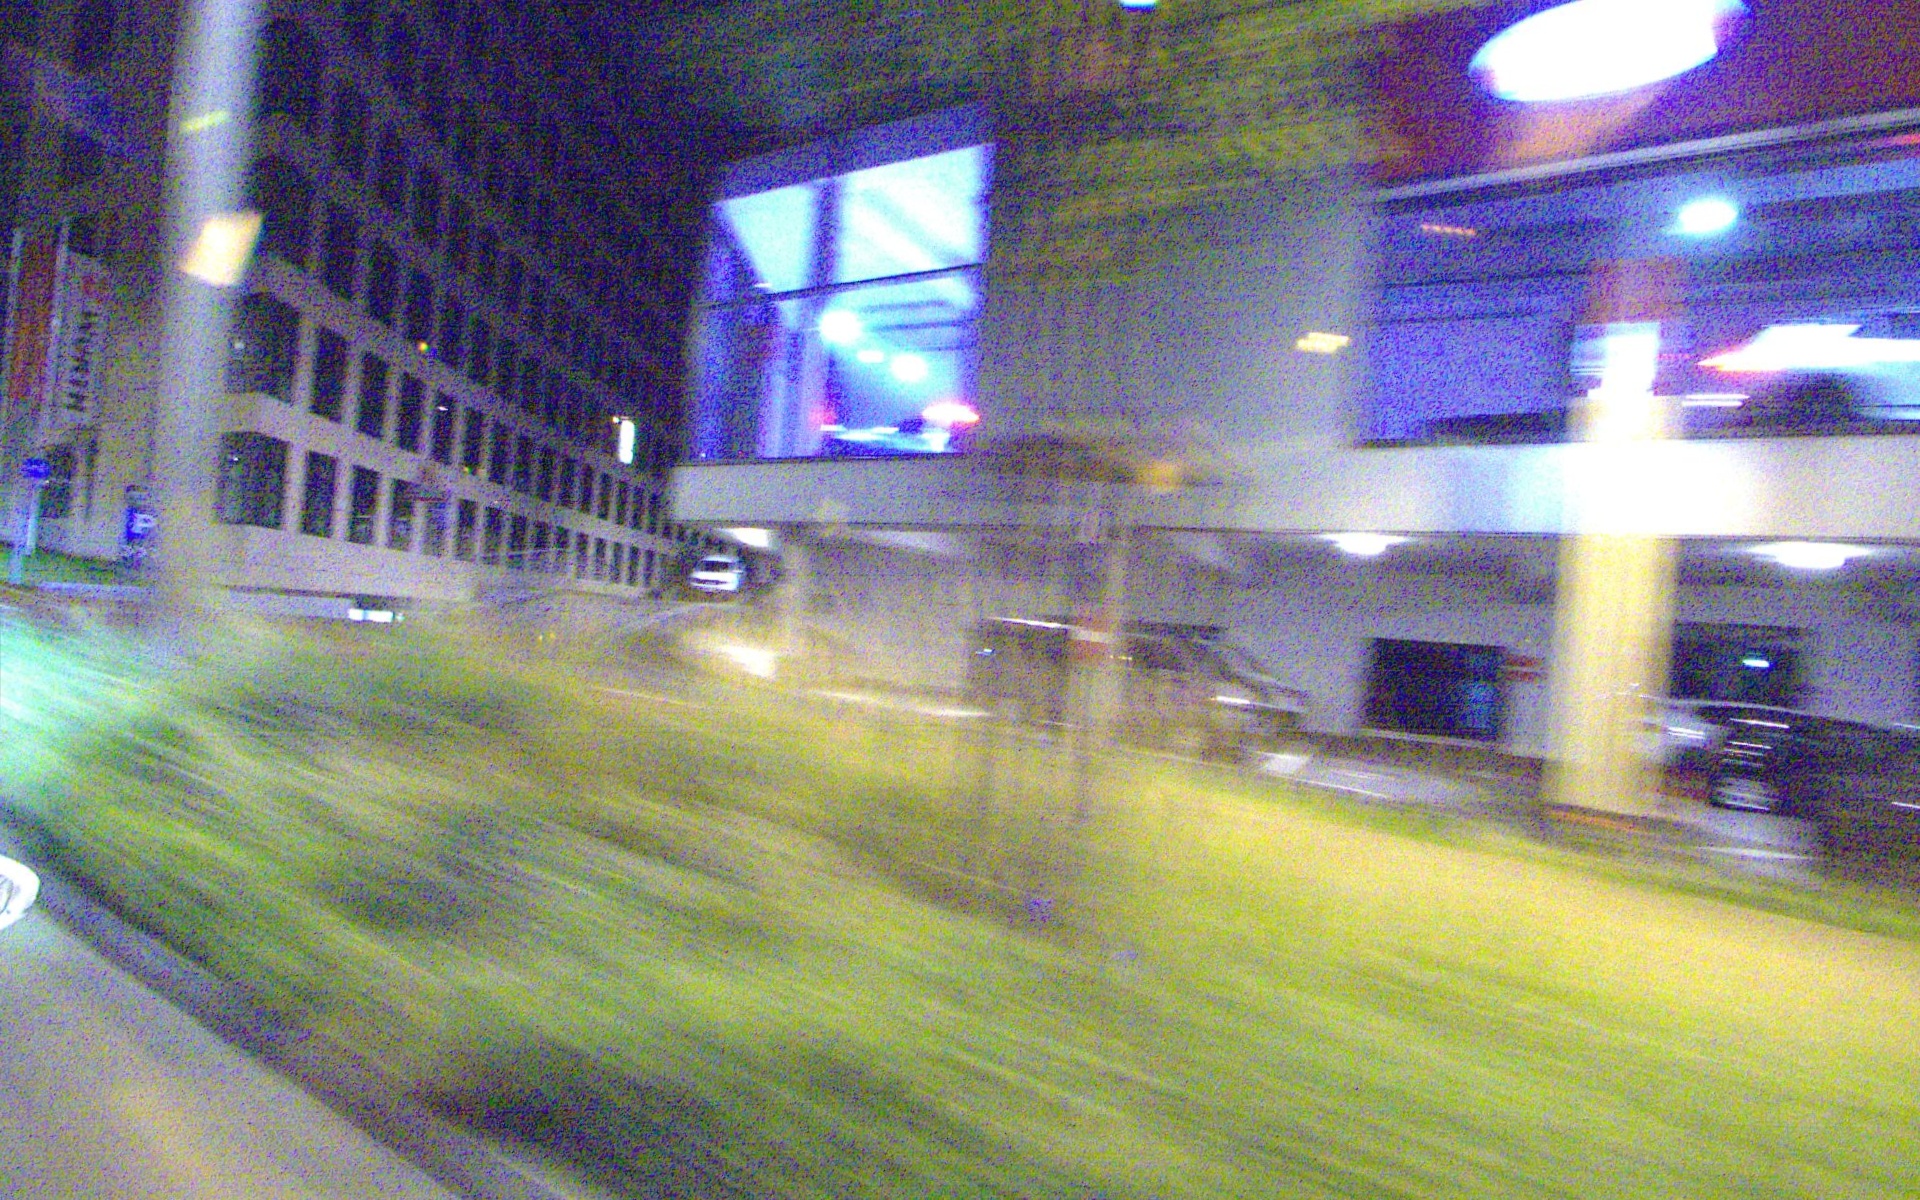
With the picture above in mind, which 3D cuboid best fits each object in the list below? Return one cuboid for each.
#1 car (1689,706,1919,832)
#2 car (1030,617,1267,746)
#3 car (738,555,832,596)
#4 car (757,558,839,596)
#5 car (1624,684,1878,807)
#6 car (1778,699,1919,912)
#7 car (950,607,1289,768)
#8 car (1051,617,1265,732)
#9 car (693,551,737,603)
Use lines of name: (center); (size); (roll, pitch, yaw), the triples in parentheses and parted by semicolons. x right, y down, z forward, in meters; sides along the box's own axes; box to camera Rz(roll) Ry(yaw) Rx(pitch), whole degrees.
car: (13.749, 2.635, 15.855); (3.357, 1.532, 1.636); (3, -1, 27)
car: (3.897, 1.641, 20.889); (4.331, 2.017, 1.816); (6, -1, 26)
car: (-7.923, -1.124, 45.665); (3.924, 1.672, 1.786); (2, 4, 1)
car: (-9.600, -1.344, 59.700); (4.304, 1.663, 1.868); (7, -1, 6)
car: (14.181, 2.549, 18.279); (3.243, 1.663, 1.635); (4, 1, 27)
car: (7.626, 1.549, 6.779); (1.842, 1.436, 4.138); (6, -2, 19)
car: (2.821, 1.476, 18.175); (5.529, 2.038, 1.998); (6, -1, 27)
car: (4.580, 1.683, 23.274); (4.331, 2.017, 1.956); (6, -1, 26)
car: (-10.009, -0.984, 41.270); (1.604, 1.685, 3.981); (1, 8, -12)
